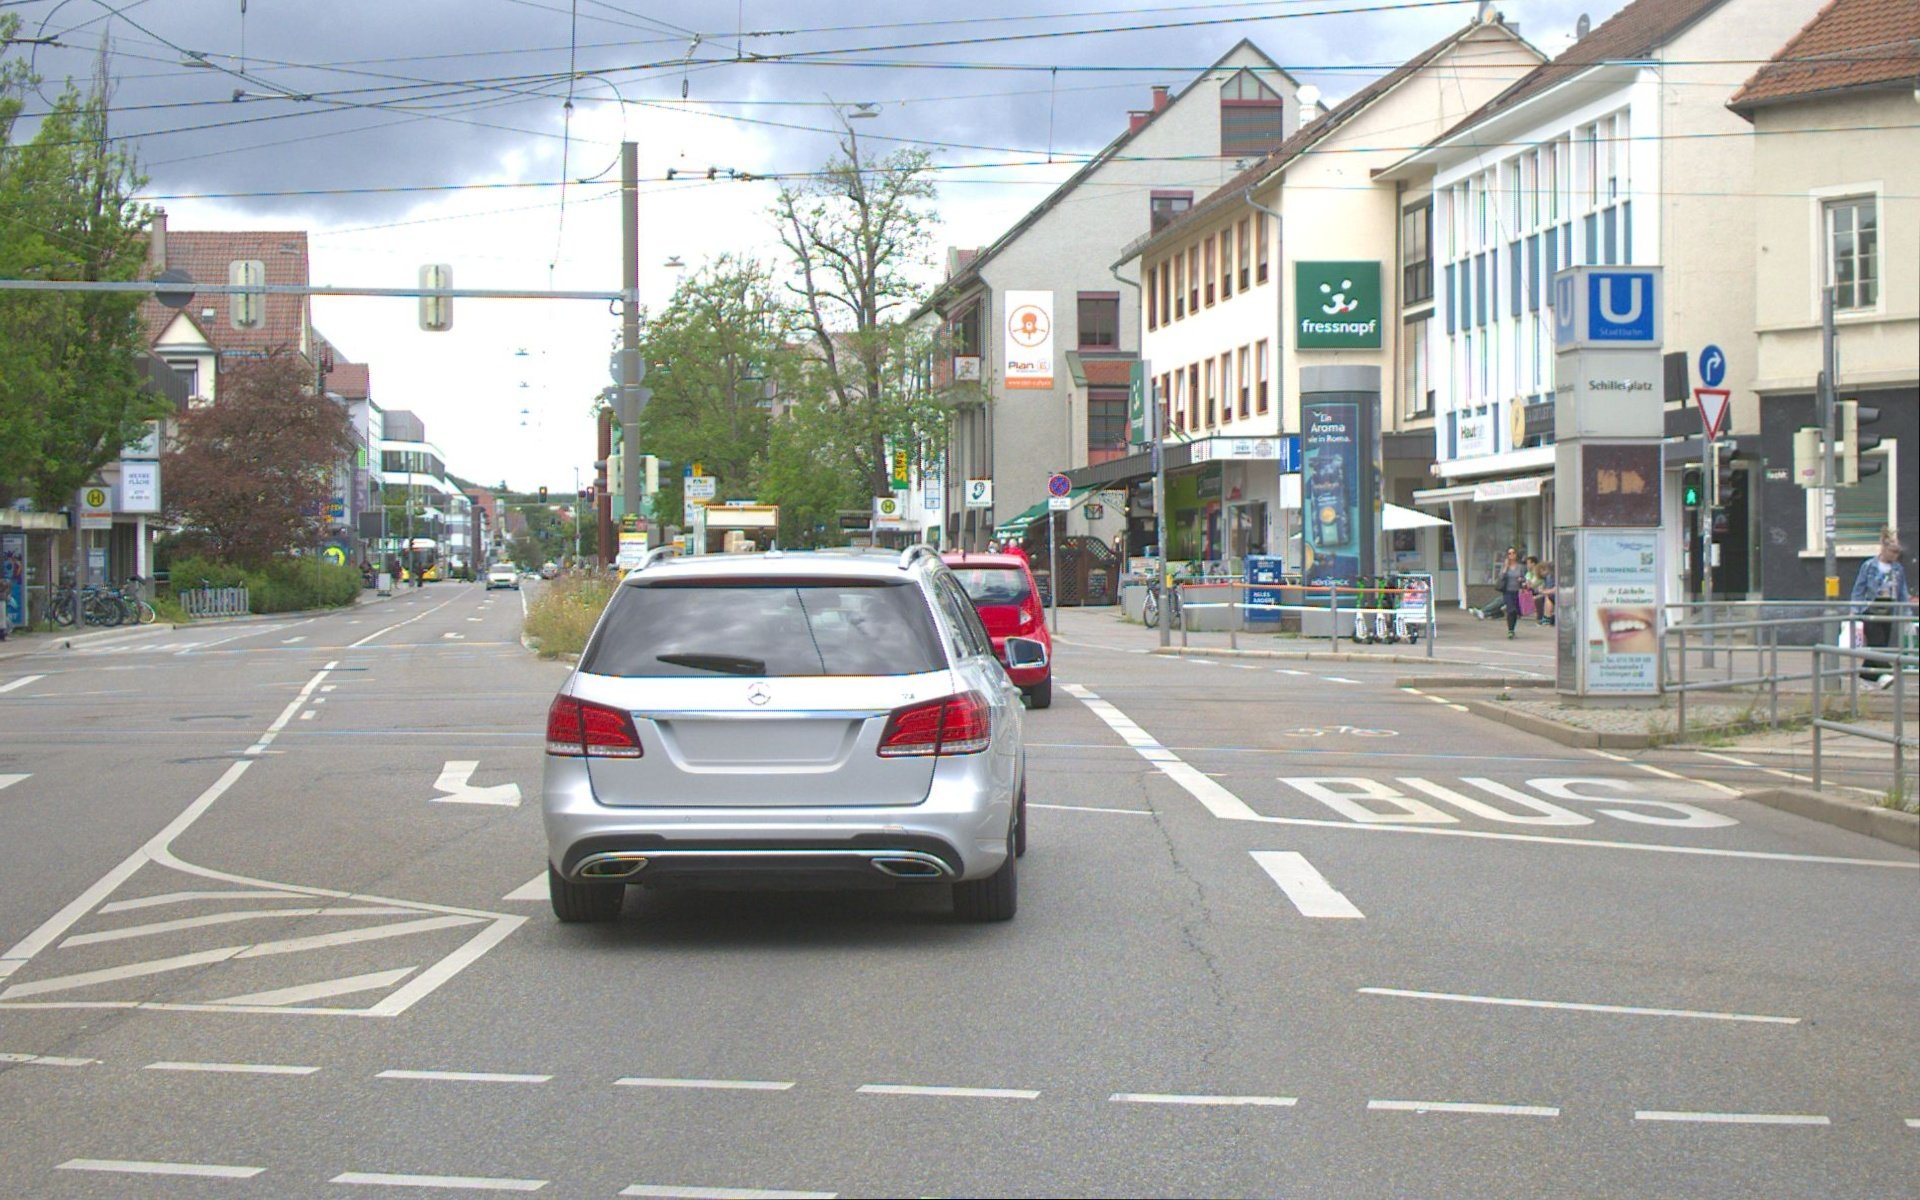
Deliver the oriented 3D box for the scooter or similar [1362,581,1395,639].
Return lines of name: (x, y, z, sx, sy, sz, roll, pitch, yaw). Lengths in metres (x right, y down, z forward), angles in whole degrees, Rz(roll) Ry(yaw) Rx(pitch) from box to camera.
scooter or similar: (7.247, 0.165, 59.584, 0.271, 0.998, 1.029, -1, 1, -11)

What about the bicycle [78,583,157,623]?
bicycle: (-21.806, 0.077, 88.997, 1.937, 1.025, 0.530, 1, 0, -16)

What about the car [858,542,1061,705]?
car: (0.055, 0.187, 33.901, 1.734, 1.503, 4.000, 0, 1, 4)

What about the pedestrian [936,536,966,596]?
pedestrian: (-0.210, -0.809, 82.404, 0.577, 1.430, 0.651, 1, 0, -13)

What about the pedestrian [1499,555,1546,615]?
pedestrian: (11.059, -0.298, 67.632, 0.736, 1.160, 0.643, 1, 0, -9)

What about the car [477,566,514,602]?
car: (-26.092, -0.898, 193.150, 1.993, 2.007, 4.001, 0, 1, -9)

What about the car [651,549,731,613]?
car: (-7.475, -0.546, 95.122, 1.993, 1.744, 4.001, 0, 1, -7)

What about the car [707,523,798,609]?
car: (-4.405, -0.722, 72.636, 1.734, 1.753, 4.001, -1, 1, -6)

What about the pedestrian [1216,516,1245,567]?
pedestrian: (6.478, -1.396, 82.323, 0.533, 1.214, 0.580, 1, 0, -9)

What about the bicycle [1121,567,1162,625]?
bicycle: (3.494, -0.082, 66.417, 0.448, 1.087, 2.149, 0, 1, -6)

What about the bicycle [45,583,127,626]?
bicycle: (-21.612, 0.111, 85.007, 1.937, 1.025, 0.530, 1, 0, -16)

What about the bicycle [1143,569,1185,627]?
bicycle: (3.941, -0.046, 66.468, 0.448, 1.103, 2.149, 0, 1, -6)

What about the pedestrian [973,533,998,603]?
pedestrian: (0.610, -0.767, 82.639, 0.578, 1.661, 0.651, 1, 0, -1)

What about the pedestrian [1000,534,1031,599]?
pedestrian: (1.275, -0.772, 79.140, 0.577, 1.464, 0.651, 1, 0, -11)

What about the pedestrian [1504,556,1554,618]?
pedestrian: (10.755, -0.243, 64.985, 0.736, 1.160, 0.643, 1, 0, -9)

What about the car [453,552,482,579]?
car: (-36.508, -2.558, 254.763, 1.993, 2.007, 4.001, 1, 0, -10)

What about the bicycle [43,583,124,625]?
bicycle: (-21.830, 0.103, 85.646, 1.937, 1.025, 0.530, 1, 0, -16)

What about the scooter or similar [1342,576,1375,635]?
scooter or similar: (6.888, 0.091, 59.503, 0.271, 0.998, 1.029, -1, 1, -11)

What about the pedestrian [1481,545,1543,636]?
pedestrian: (9.698, -0.172, 60.384, 0.640, 1.586, 0.898, 1, 0, -27)

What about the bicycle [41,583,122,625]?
bicycle: (-22.032, 0.096, 86.219, 1.937, 1.025, 0.530, 1, 0, -16)

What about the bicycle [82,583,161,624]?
bicycle: (-21.482, 0.089, 88.055, 1.937, 1.025, 0.530, 1, 0, -16)

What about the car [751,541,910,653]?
car: (-1.867, -0.068, 48.414, 1.734, 1.503, 4.001, -1, 1, -9)

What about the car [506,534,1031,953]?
car: (-0.652, 0.491, 14.528, 1.846, 1.503, 4.171, -1, 1, 2)

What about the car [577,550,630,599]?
car: (-14.841, -1.073, 143.110, 1.993, 2.007, 4.001, 0, 1, -9)

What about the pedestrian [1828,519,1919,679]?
pedestrian: (9.971, -0.019, 37.281, 0.840, 1.712, 0.727, -1, 1, -10)
